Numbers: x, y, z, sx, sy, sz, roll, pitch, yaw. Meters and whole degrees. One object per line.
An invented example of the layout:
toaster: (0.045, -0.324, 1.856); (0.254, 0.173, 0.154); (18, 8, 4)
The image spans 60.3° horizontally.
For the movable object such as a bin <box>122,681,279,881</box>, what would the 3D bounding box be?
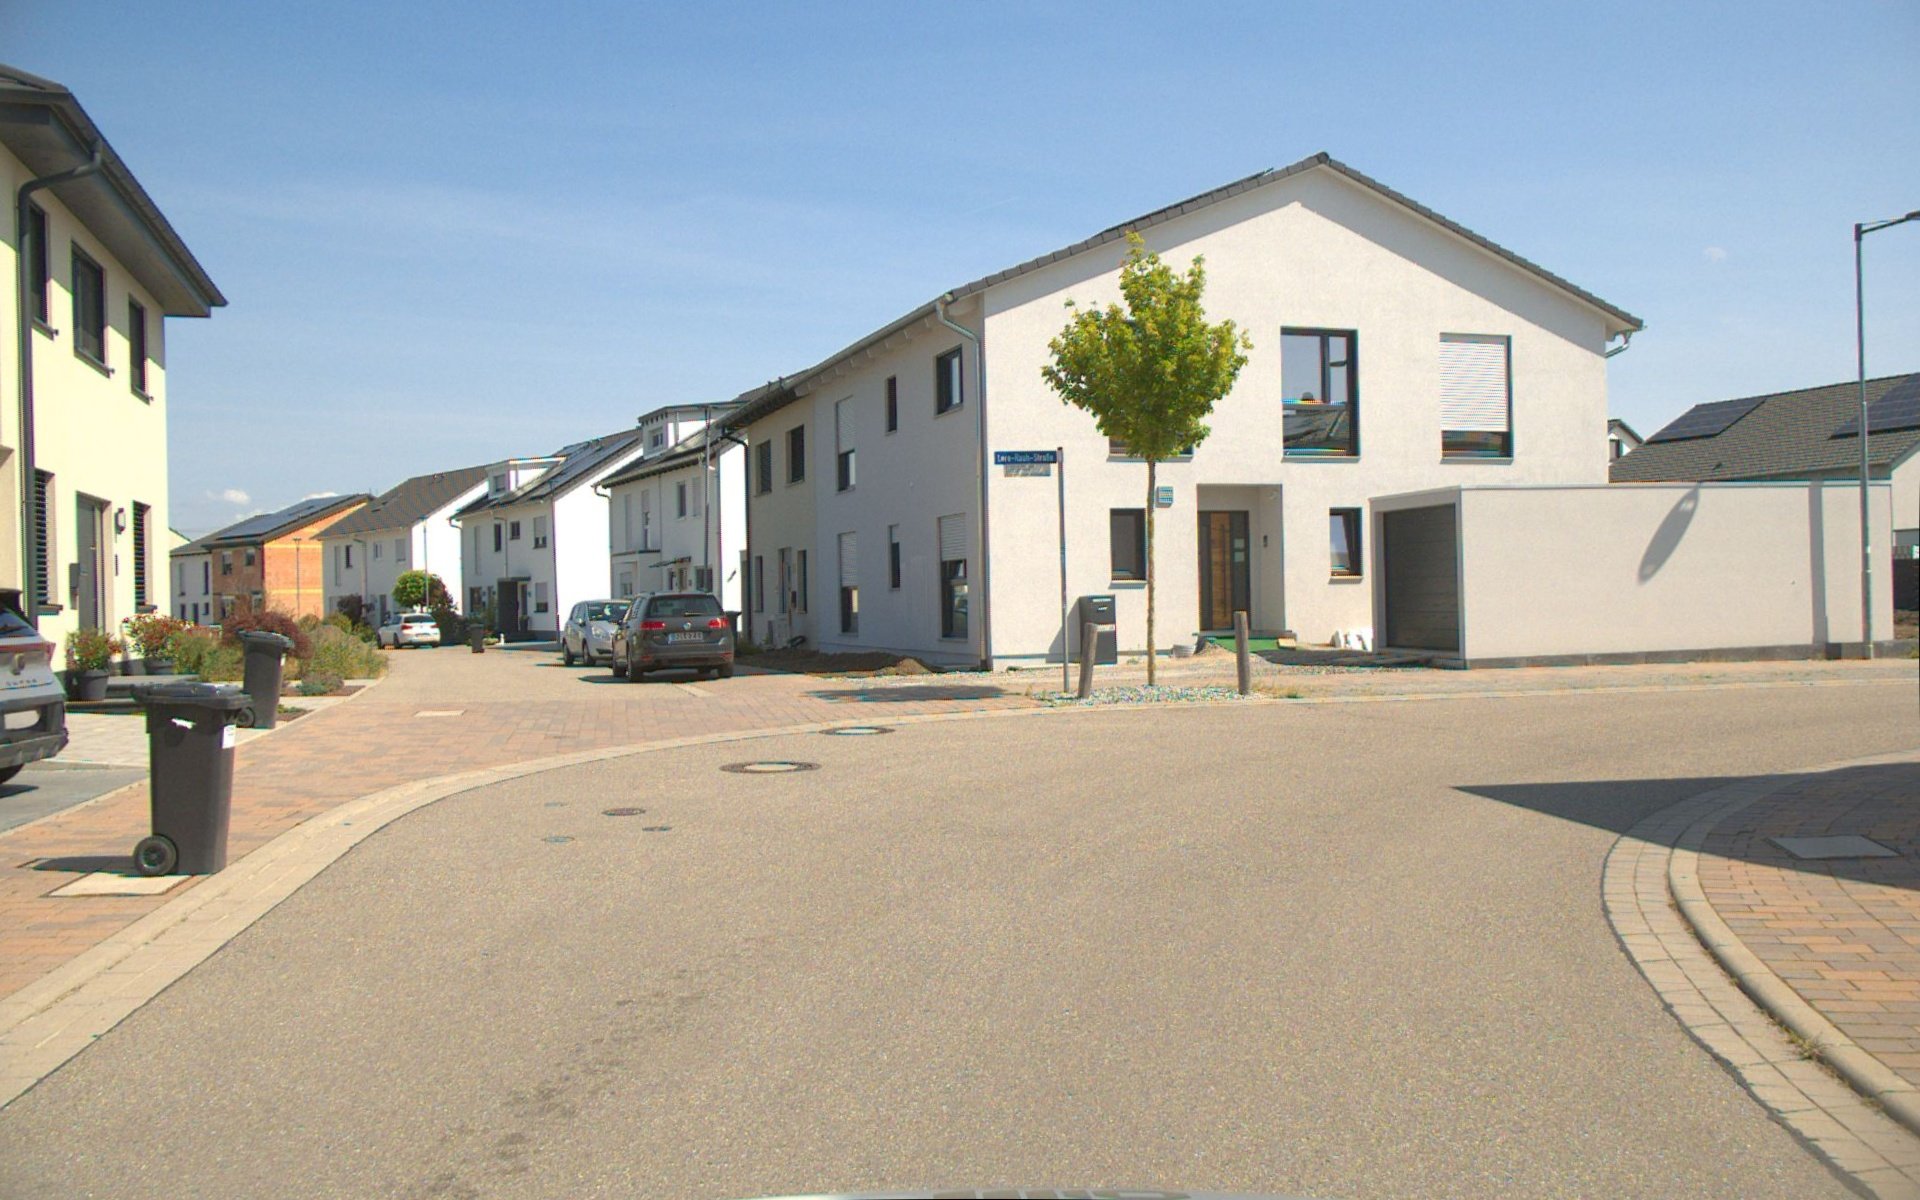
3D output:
movable object such as a bin: (-3.860, 0.907, 8.431); (0.523, 0.952, 0.526); (1, 0, 5)

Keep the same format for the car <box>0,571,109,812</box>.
car: (-8.006, 0.600, 10.840); (3.907, 1.512, 1.753); (-1, 0, -3)

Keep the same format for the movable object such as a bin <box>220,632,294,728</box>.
movable object such as a bin: (-7.066, 0.797, 16.642); (0.604, 0.943, 0.421); (2, -1, -15)

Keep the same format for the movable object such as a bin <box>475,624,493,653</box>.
movable object such as a bin: (-16.162, 1.316, 56.176); (0.549, 0.965, 0.245); (-1, 0, -23)

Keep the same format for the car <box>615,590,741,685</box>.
car: (-4.882, 0.593, 28.232); (1.699, 1.447, 3.983); (-2, 0, -16)

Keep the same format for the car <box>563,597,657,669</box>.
car: (-8.022, 0.713, 37.679); (1.651, 1.489, 3.924); (-2, 0, -18)

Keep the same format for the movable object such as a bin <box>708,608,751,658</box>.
movable object such as a bin: (-5.240, 0.737, 37.597); (0.773, 1.068, 0.799); (-4, 1, -21)

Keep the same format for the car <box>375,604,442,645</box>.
car: (-23.098, 1.015, 69.226); (1.763, 1.624, 3.955); (-2, 0, -32)
